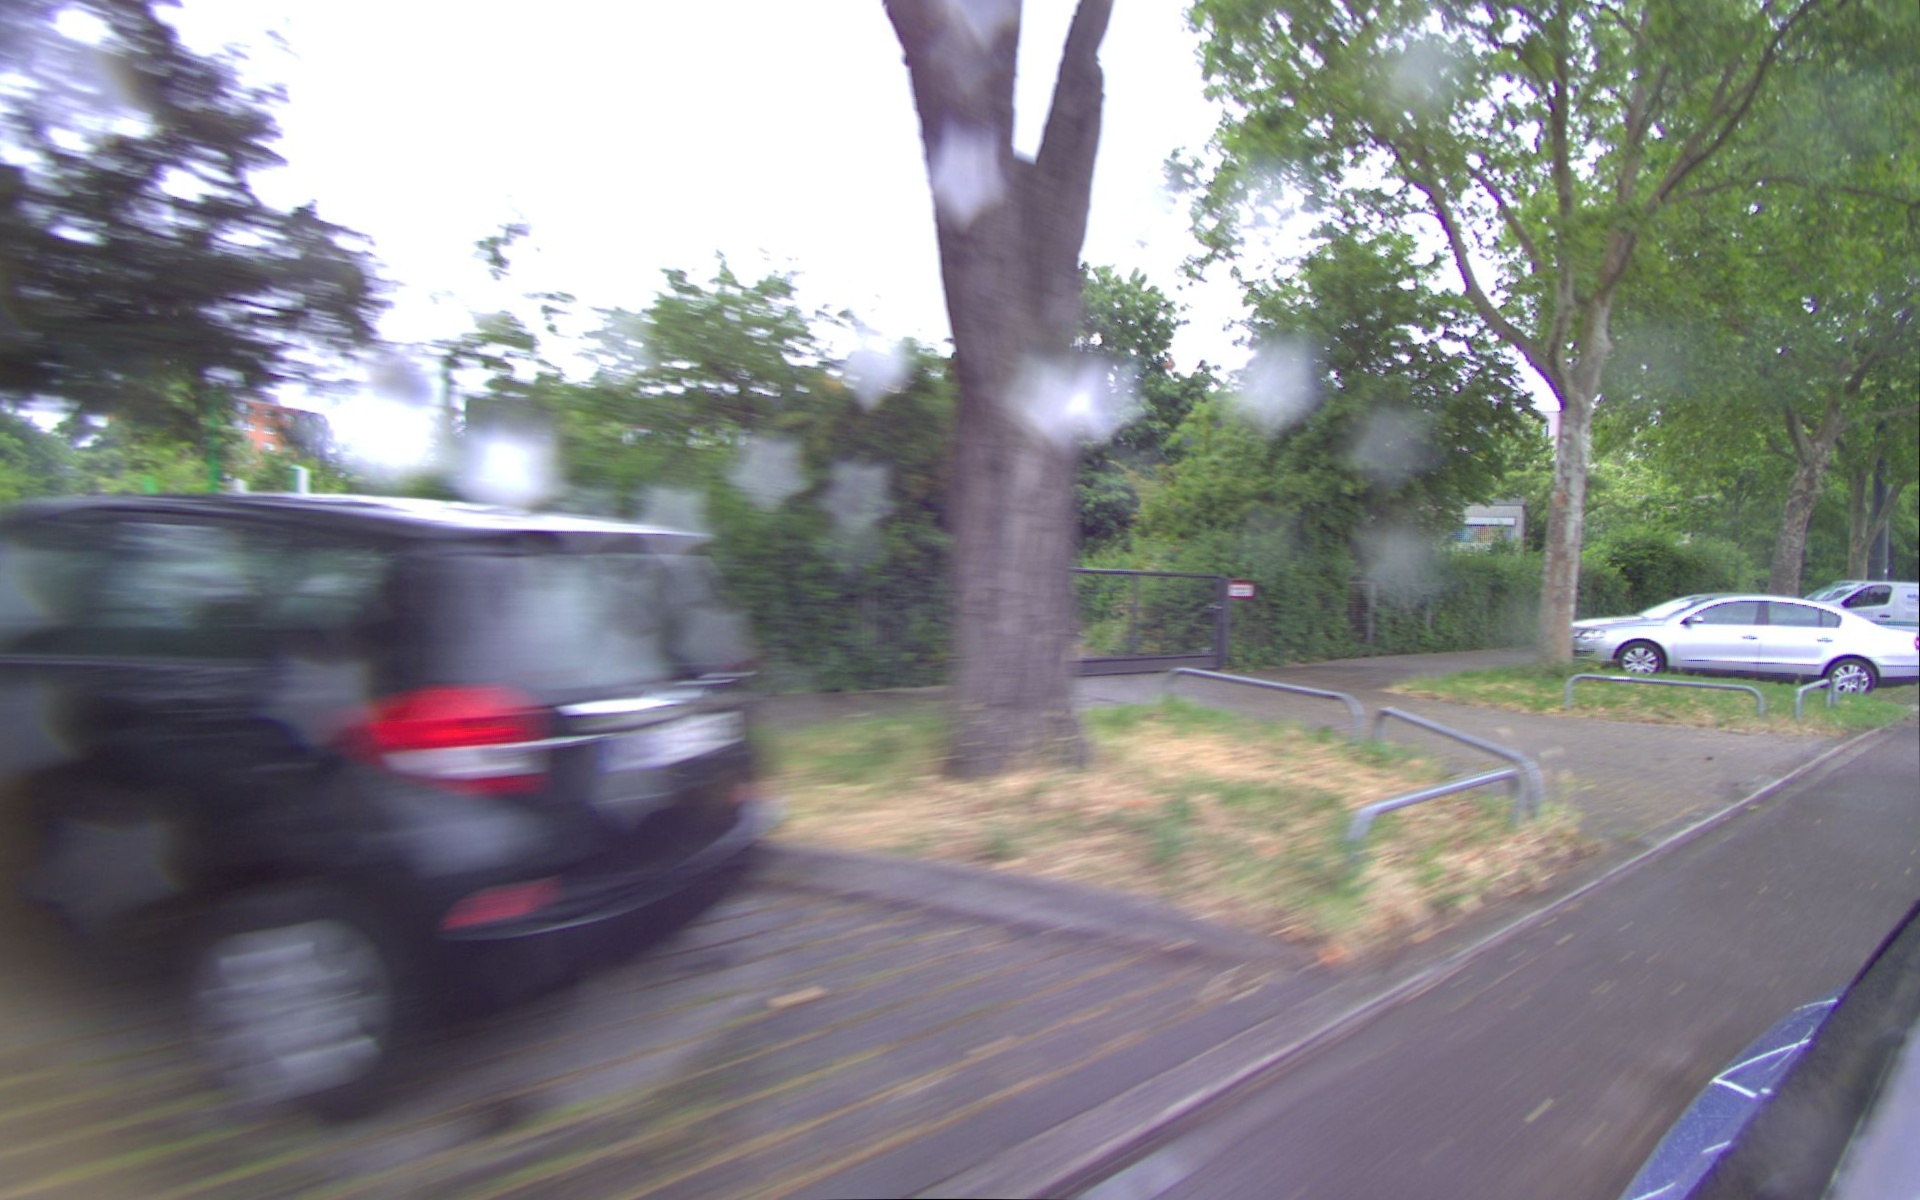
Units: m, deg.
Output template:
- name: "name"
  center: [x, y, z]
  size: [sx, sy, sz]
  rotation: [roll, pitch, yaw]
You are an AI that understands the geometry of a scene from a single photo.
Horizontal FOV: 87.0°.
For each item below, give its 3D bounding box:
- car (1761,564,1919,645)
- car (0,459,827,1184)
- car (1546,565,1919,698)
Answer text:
- name: "car"
  center: [25.902, 0.156, 28.288]
  size: [4.958, 2.038, 1.991]
  rotation: [4, 2, 15]
- name: "car"
  center: [-2.495, 0.386, 3.552]
  size: [3.665, 1.585, 1.610]
  rotation: [3, 2, 18]
- name: "car"
  center: [12.022, 0.409, 15.836]
  size: [4.502, 1.563, 1.877]
  rotation: [5, 2, 18]
